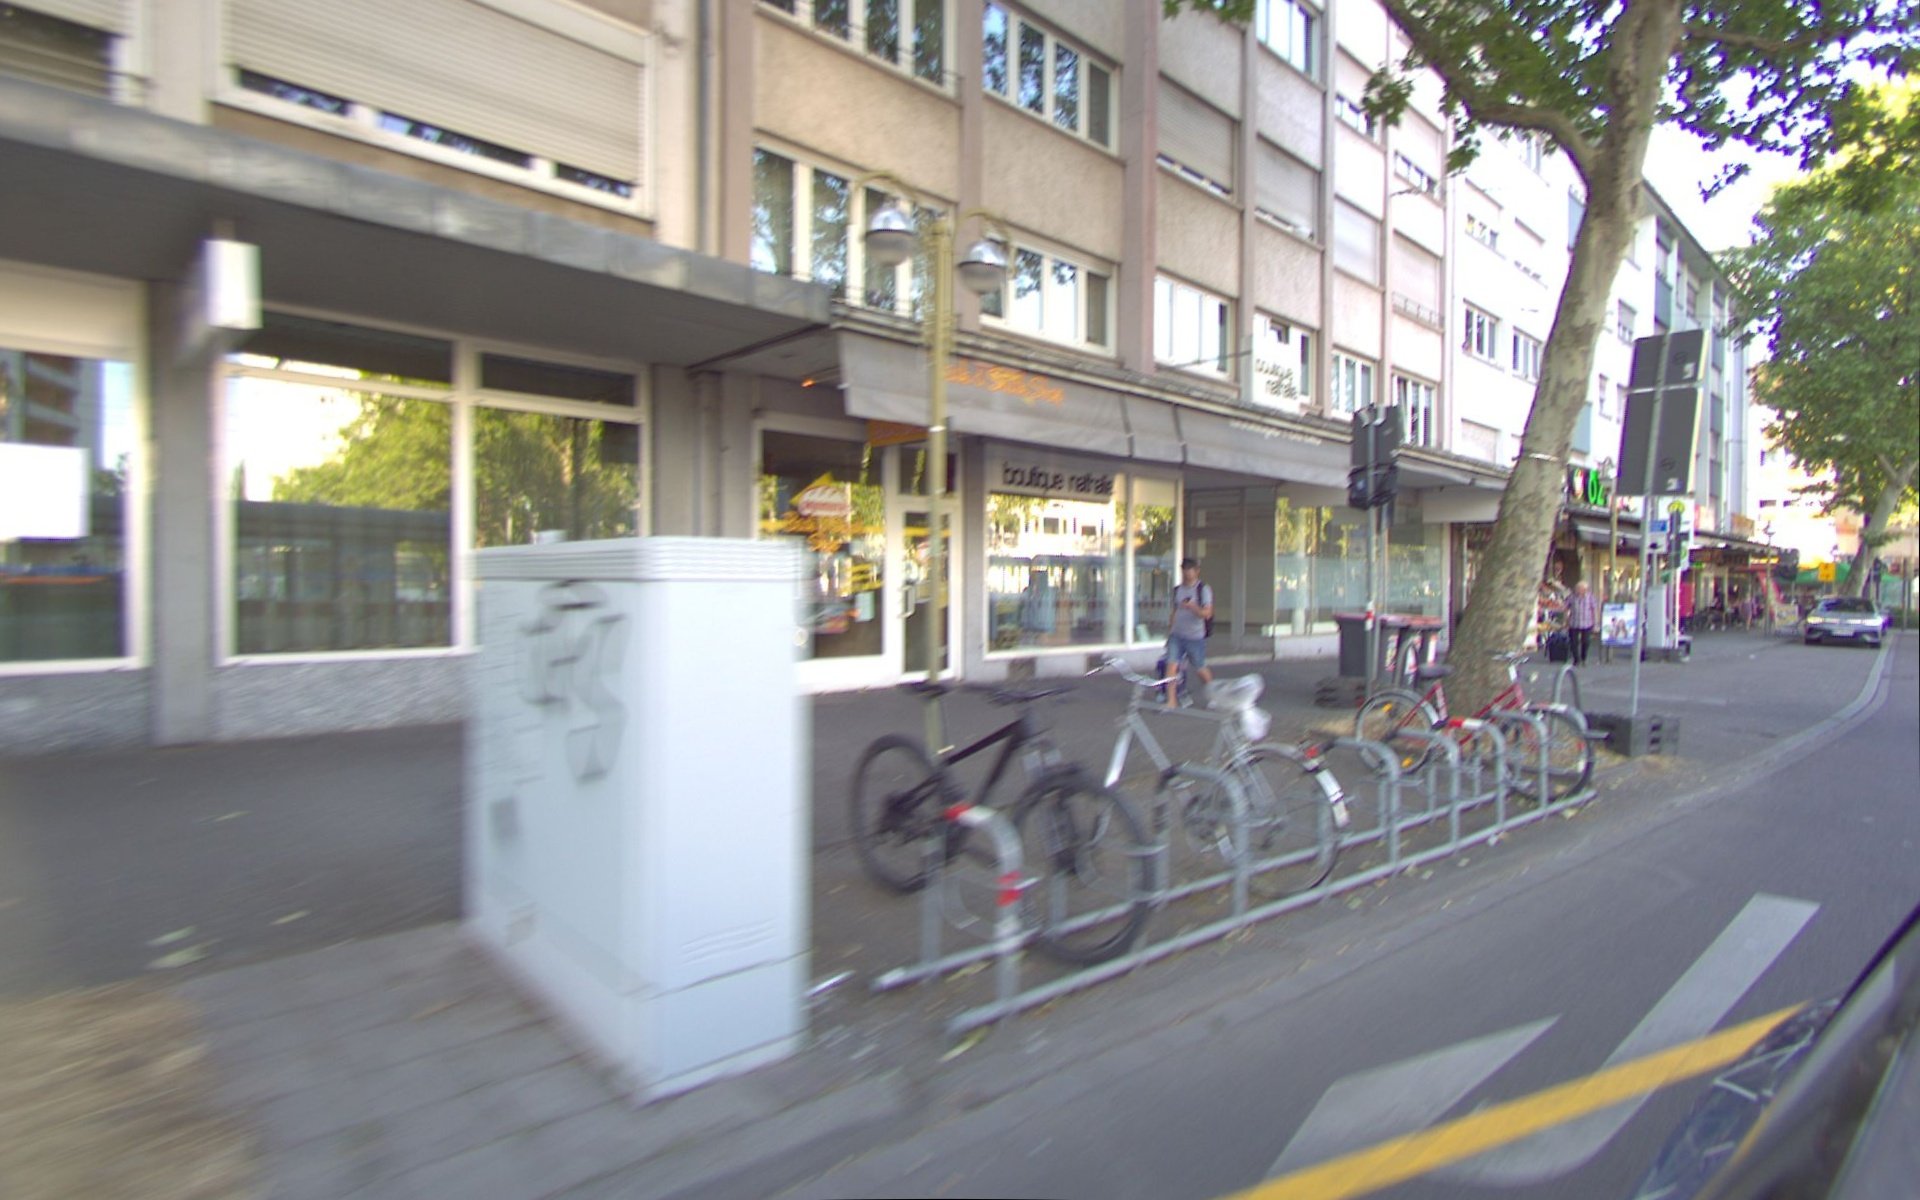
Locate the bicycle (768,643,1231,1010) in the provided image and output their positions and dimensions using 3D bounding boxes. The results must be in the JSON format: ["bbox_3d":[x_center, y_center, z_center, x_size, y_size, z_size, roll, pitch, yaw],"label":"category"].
[{"bbox_3d":[0.074,0.807,4.383,1.987,1.071,0.758,3,2,44],"label":"bicycle"}]

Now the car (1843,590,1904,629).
[{"bbox_3d":[38.603,0.367,42.748,3.739,1.497,1.656,0,2,-45],"label":"car"}]

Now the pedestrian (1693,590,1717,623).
[{"bbox_3d":[29.545,0.248,40.142,0.596,1.281,0.645,0,1,-44],"label":"pedestrian"}]

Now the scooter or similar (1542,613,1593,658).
[{"bbox_3d":[12.189,0.699,20.330,0.566,0.854,0.733,0,1,0],"label":"scooter or similar"}]

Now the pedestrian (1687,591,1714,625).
[{"bbox_3d":[27.736,0.301,37.909,0.699,1.243,0.676,0,1,-45],"label":"pedestrian"}]

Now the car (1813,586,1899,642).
[{"bbox_3d":[28.882,0.392,32.585,1.918,1.617,4.717,2,2,43],"label":"car"}]

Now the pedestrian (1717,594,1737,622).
[{"bbox_3d":[31.296,0.322,41.284,0.514,1.148,0.504,1,1,24],"label":"pedestrian"}]

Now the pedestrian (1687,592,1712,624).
[{"bbox_3d":[28.356,0.291,38.807,0.699,1.191,0.676,0,1,-44],"label":"pedestrian"}]

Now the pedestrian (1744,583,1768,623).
[{"bbox_3d":[31.983,0.122,40.668,0.631,1.579,0.584,0,2,-42],"label":"pedestrian"}]

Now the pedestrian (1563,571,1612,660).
[{"bbox_3d":[12.173,0.296,19.649,0.637,1.694,0.554,0,0,10],"label":"pedestrian"}]

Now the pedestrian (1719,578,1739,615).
[{"bbox_3d":[35.949,-0.159,47.298,0.707,1.730,0.668,0,0,40],"label":"pedestrian"}]

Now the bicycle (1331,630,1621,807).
[{"bbox_3d":[3.771,0.805,7.504,1.789,1.034,0.634,3,2,44],"label":"bicycle"}]

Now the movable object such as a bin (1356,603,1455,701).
[{"bbox_3d":[5.504,0.614,12.486,1.208,1.088,0.674,0,3,-44],"label":"movable object such as a bin"}]

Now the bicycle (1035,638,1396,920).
[{"bbox_3d":[1.232,0.802,5.194,0.633,1.071,1.716,0,2,-42],"label":"bicycle"}]

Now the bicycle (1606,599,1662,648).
[{"bbox_3d":[16.957,0.559,25.450,0.777,1.117,2.232,4,3,43],"label":"bicycle"}]

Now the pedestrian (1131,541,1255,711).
[{"bbox_3d":[2.471,0.242,10.741,0.974,1.694,0.844,0,2,-44],"label":"pedestrian"}]
